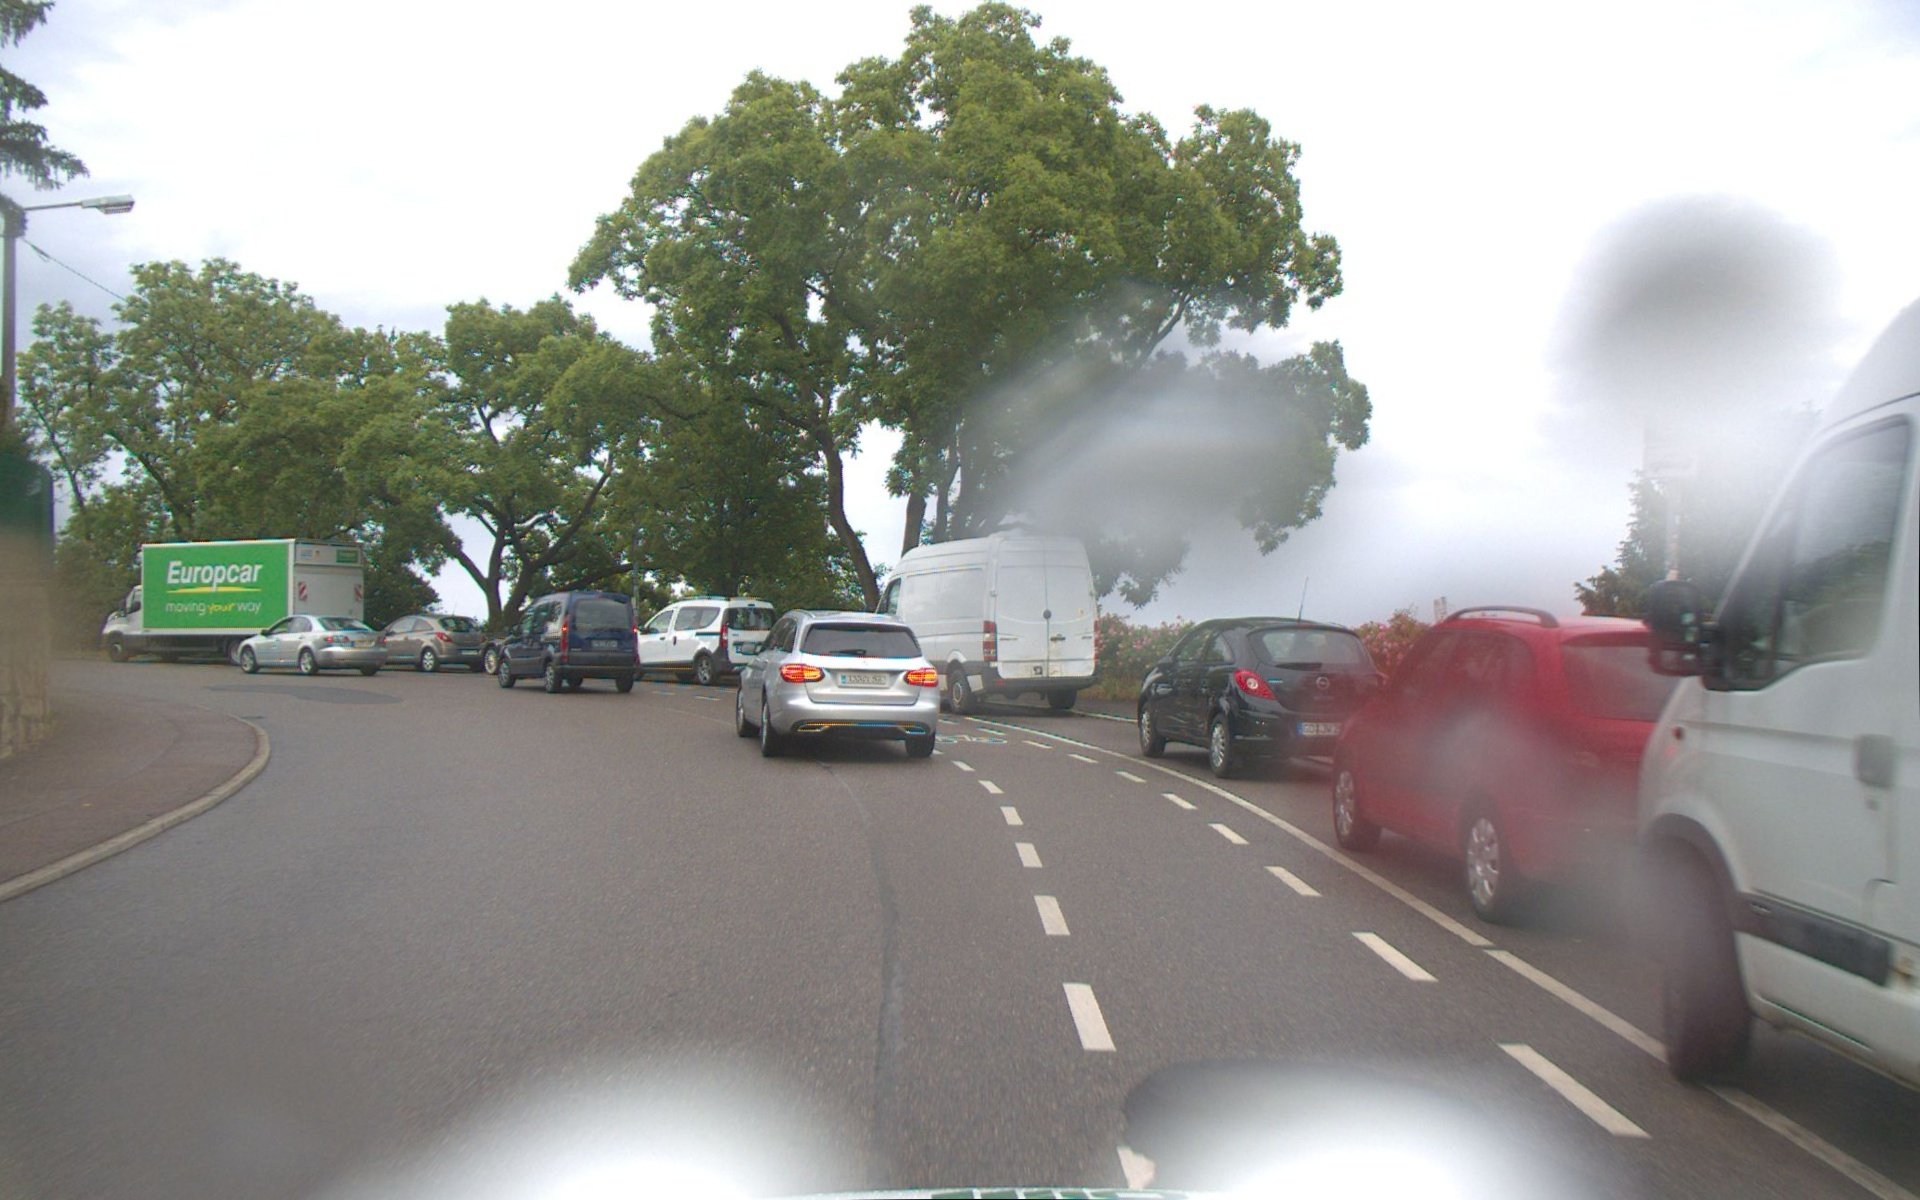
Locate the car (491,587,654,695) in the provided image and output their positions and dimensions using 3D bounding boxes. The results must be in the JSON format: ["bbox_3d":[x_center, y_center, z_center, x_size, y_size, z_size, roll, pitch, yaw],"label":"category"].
[{"bbox_3d":[-7.508,0.732,31.788,1.807,1.915,4.048,0,0,-33],"label":"car"}]

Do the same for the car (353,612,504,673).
[{"bbox_3d":[-14.055,1.089,43.661,4.052,1.529,1.733,0,0,36],"label":"car"}]

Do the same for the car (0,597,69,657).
[{"bbox_3d":[-30.027,0.828,50.887,4.271,1.802,1.867,1,-2,8],"label":"car"}]

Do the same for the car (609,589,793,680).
[{"bbox_3d":[-5.709,0.720,36.146,4.348,1.853,1.740,0,0,44],"label":"car"}]

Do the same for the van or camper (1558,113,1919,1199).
[{"bbox_3d":[3.390,0.158,3.694,2.031,2.707,5.595,1,0,0],"label":"van or camper"}]

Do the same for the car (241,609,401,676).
[{"bbox_3d":[-15.240,0.977,39.367,4.018,1.484,1.850,0,0,40],"label":"car"}]

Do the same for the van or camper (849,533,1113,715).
[{"bbox_3d":[0.156,0.336,26.896,2.040,2.626,5.843,0,0,-24],"label":"van or camper"}]

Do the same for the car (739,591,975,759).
[{"bbox_3d":[-1.248,0.773,17.933,1.948,1.581,4.284,1,-2,-12],"label":"car"}]

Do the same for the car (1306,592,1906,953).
[{"bbox_3d":[3.299,0.752,9.397,1.588,1.567,4.213,0,0,-3],"label":"car"}]

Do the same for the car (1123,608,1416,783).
[{"bbox_3d":[2.951,0.867,16.626,1.664,1.469,3.940,2,0,-8],"label":"car"}]

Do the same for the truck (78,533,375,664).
[{"bbox_3d":[-21.268,-0.032,47.815,8.726,3.531,2.781,0,-1,25],"label":"truck"}]

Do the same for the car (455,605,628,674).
[{"bbox_3d":[-10.232,0.923,40.229,4.811,1.569,1.853,0,0,44],"label":"car"}]
